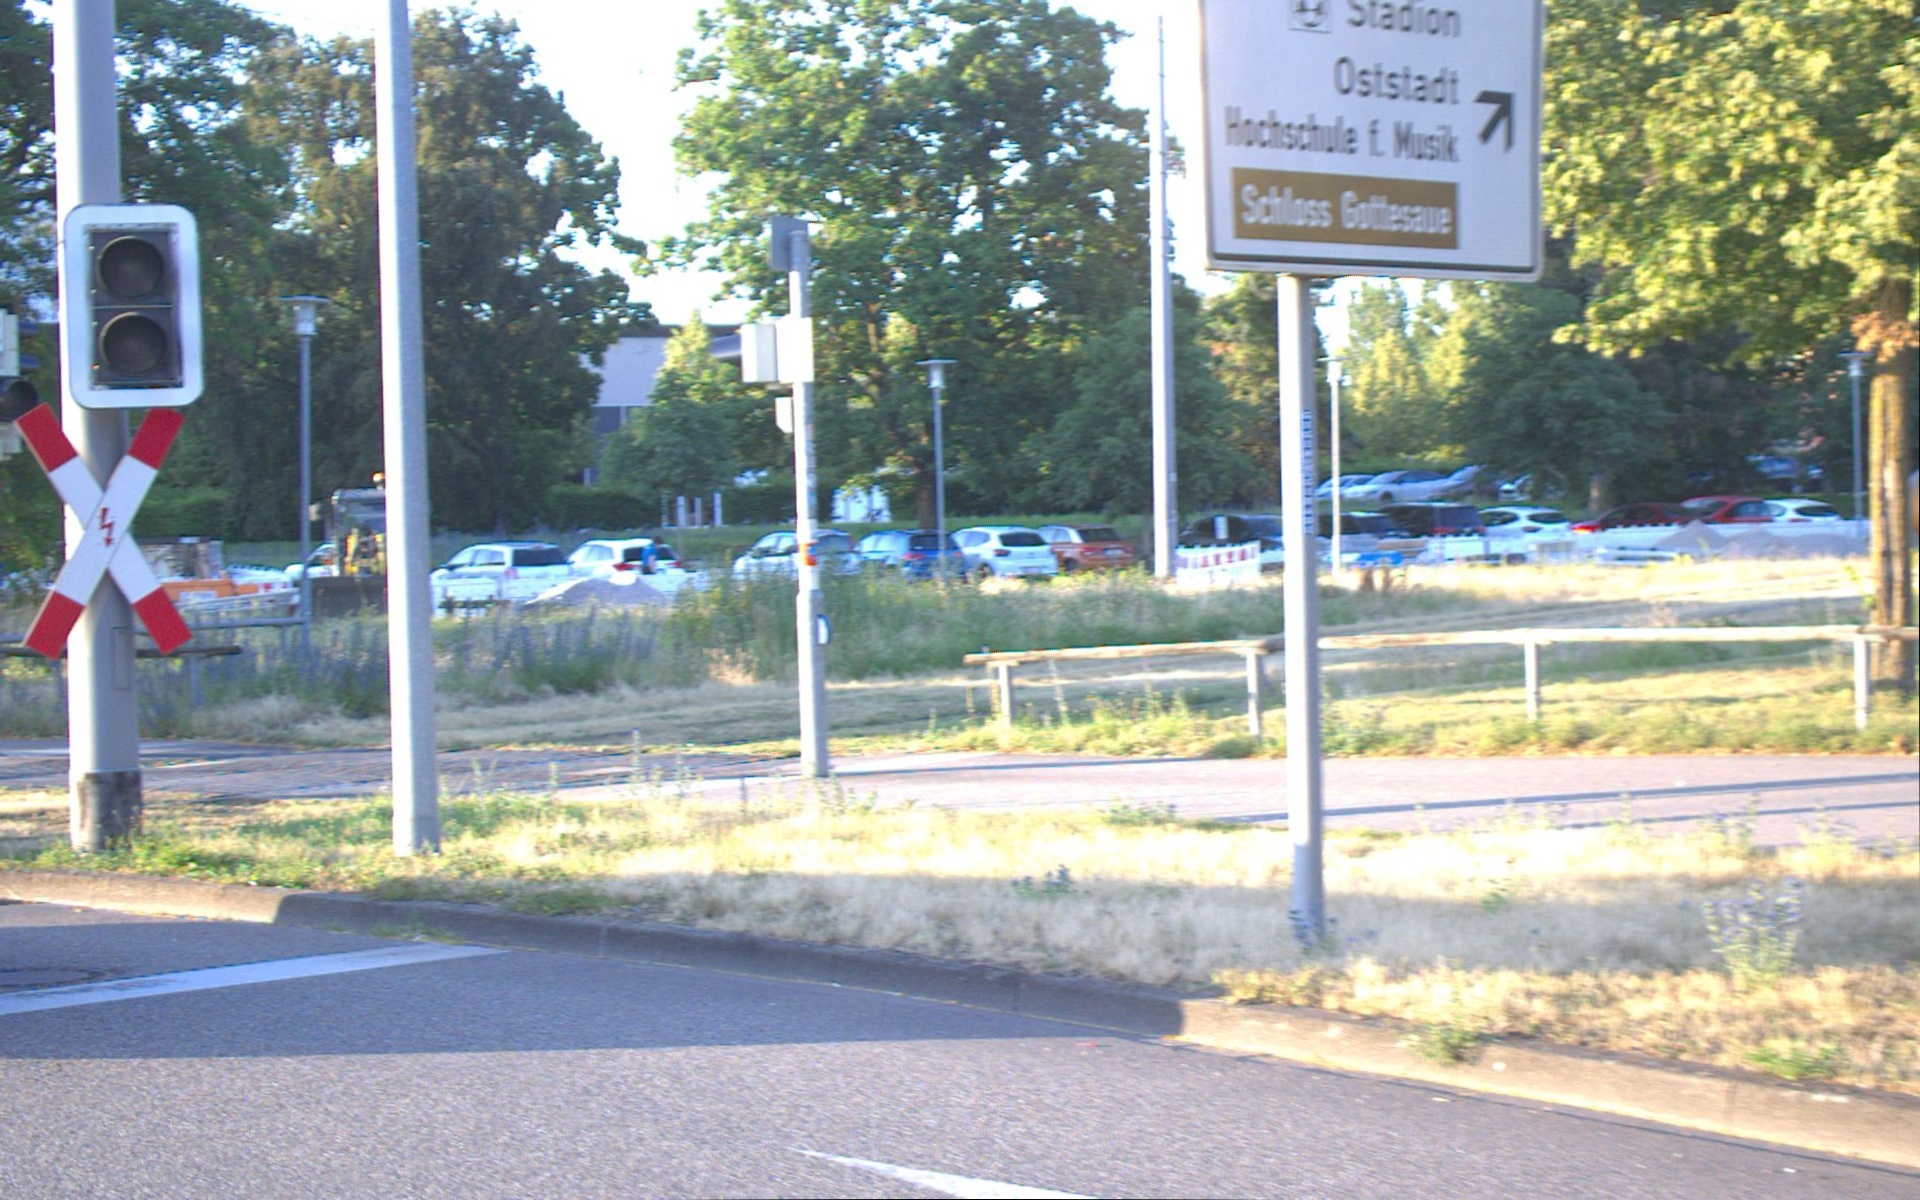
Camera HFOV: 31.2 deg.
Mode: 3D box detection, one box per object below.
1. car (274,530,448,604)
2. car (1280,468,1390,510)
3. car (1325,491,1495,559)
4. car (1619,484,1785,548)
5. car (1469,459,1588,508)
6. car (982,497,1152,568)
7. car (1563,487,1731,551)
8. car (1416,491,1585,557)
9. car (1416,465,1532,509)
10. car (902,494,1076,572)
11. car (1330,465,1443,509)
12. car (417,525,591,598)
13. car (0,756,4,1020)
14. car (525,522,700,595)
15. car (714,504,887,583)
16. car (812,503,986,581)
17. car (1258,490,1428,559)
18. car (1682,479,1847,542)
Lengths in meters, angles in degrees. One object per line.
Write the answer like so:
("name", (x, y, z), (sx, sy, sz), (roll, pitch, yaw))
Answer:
("car", (-12.405, -0.672, 71.028), (1.947, 1.440, 3.999), (-3, 2, -36))
("car", (14.893, -4.415, 136.485), (3.987, 1.548, 1.903), (-3, 1, -32))
("car", (11.109, -1.847, 85.085), (1.898, 1.548, 3.999), (-3, 2, -36))
("car", (19.448, -2.204, 90.252), (1.898, 1.548, 3.999), (-3, 2, -36))
("car", (20.978, -4.304, 126.841), (3.987, 1.738, 2.000), (-2, 2, -33))
("car", (2.483, -1.571, 80.488), (1.898, 1.548, 3.999), (-3, 2, -36))
("car", (17.747, -2.089, 88.914), (1.898, 1.548, 3.999), (-3, 2, -36))
("car", (13.591, -1.909, 86.576), (1.898, 1.548, 3.999), (-3, 2, -36))
("car", (19.448, -4.281, 130.062), (3.987, 1.548, 1.903), (-3, 1, -32))
("car", (0.643, -1.520, 78.515), (1.947, 1.656, 3.999), (-3, 1, -36))
("car", (16.621, -4.403, 133.972), (3.987, 1.548, 1.903), (-3, 1, -32))
("car", (-9.624, -0.791, 72.379), (1.947, 1.440, 3.999), (-3, 2, -36))
("car", (-5.363, 0.686, 12.014), (1.952, 1.337, 4.668), (-2, 1, -43))
("car", (-7.451, -0.877, 73.378), (1.947, 1.440, 3.999), (-3, 2, -36))
("car", (-3.582, -1.251, 76.562), (1.947, 1.656, 3.999), (-3, 1, -36))
("car", (-1.400, -1.292, 77.565), (1.947, 1.656, 3.999), (-3, 1, -36))
("car", (9.322, -1.836, 83.888), (1.898, 1.548, 3.999), (-3, 2, -36))
("car", (21.429, -2.375, 91.702), (1.898, 1.548, 3.999), (-3, 2, -36))
